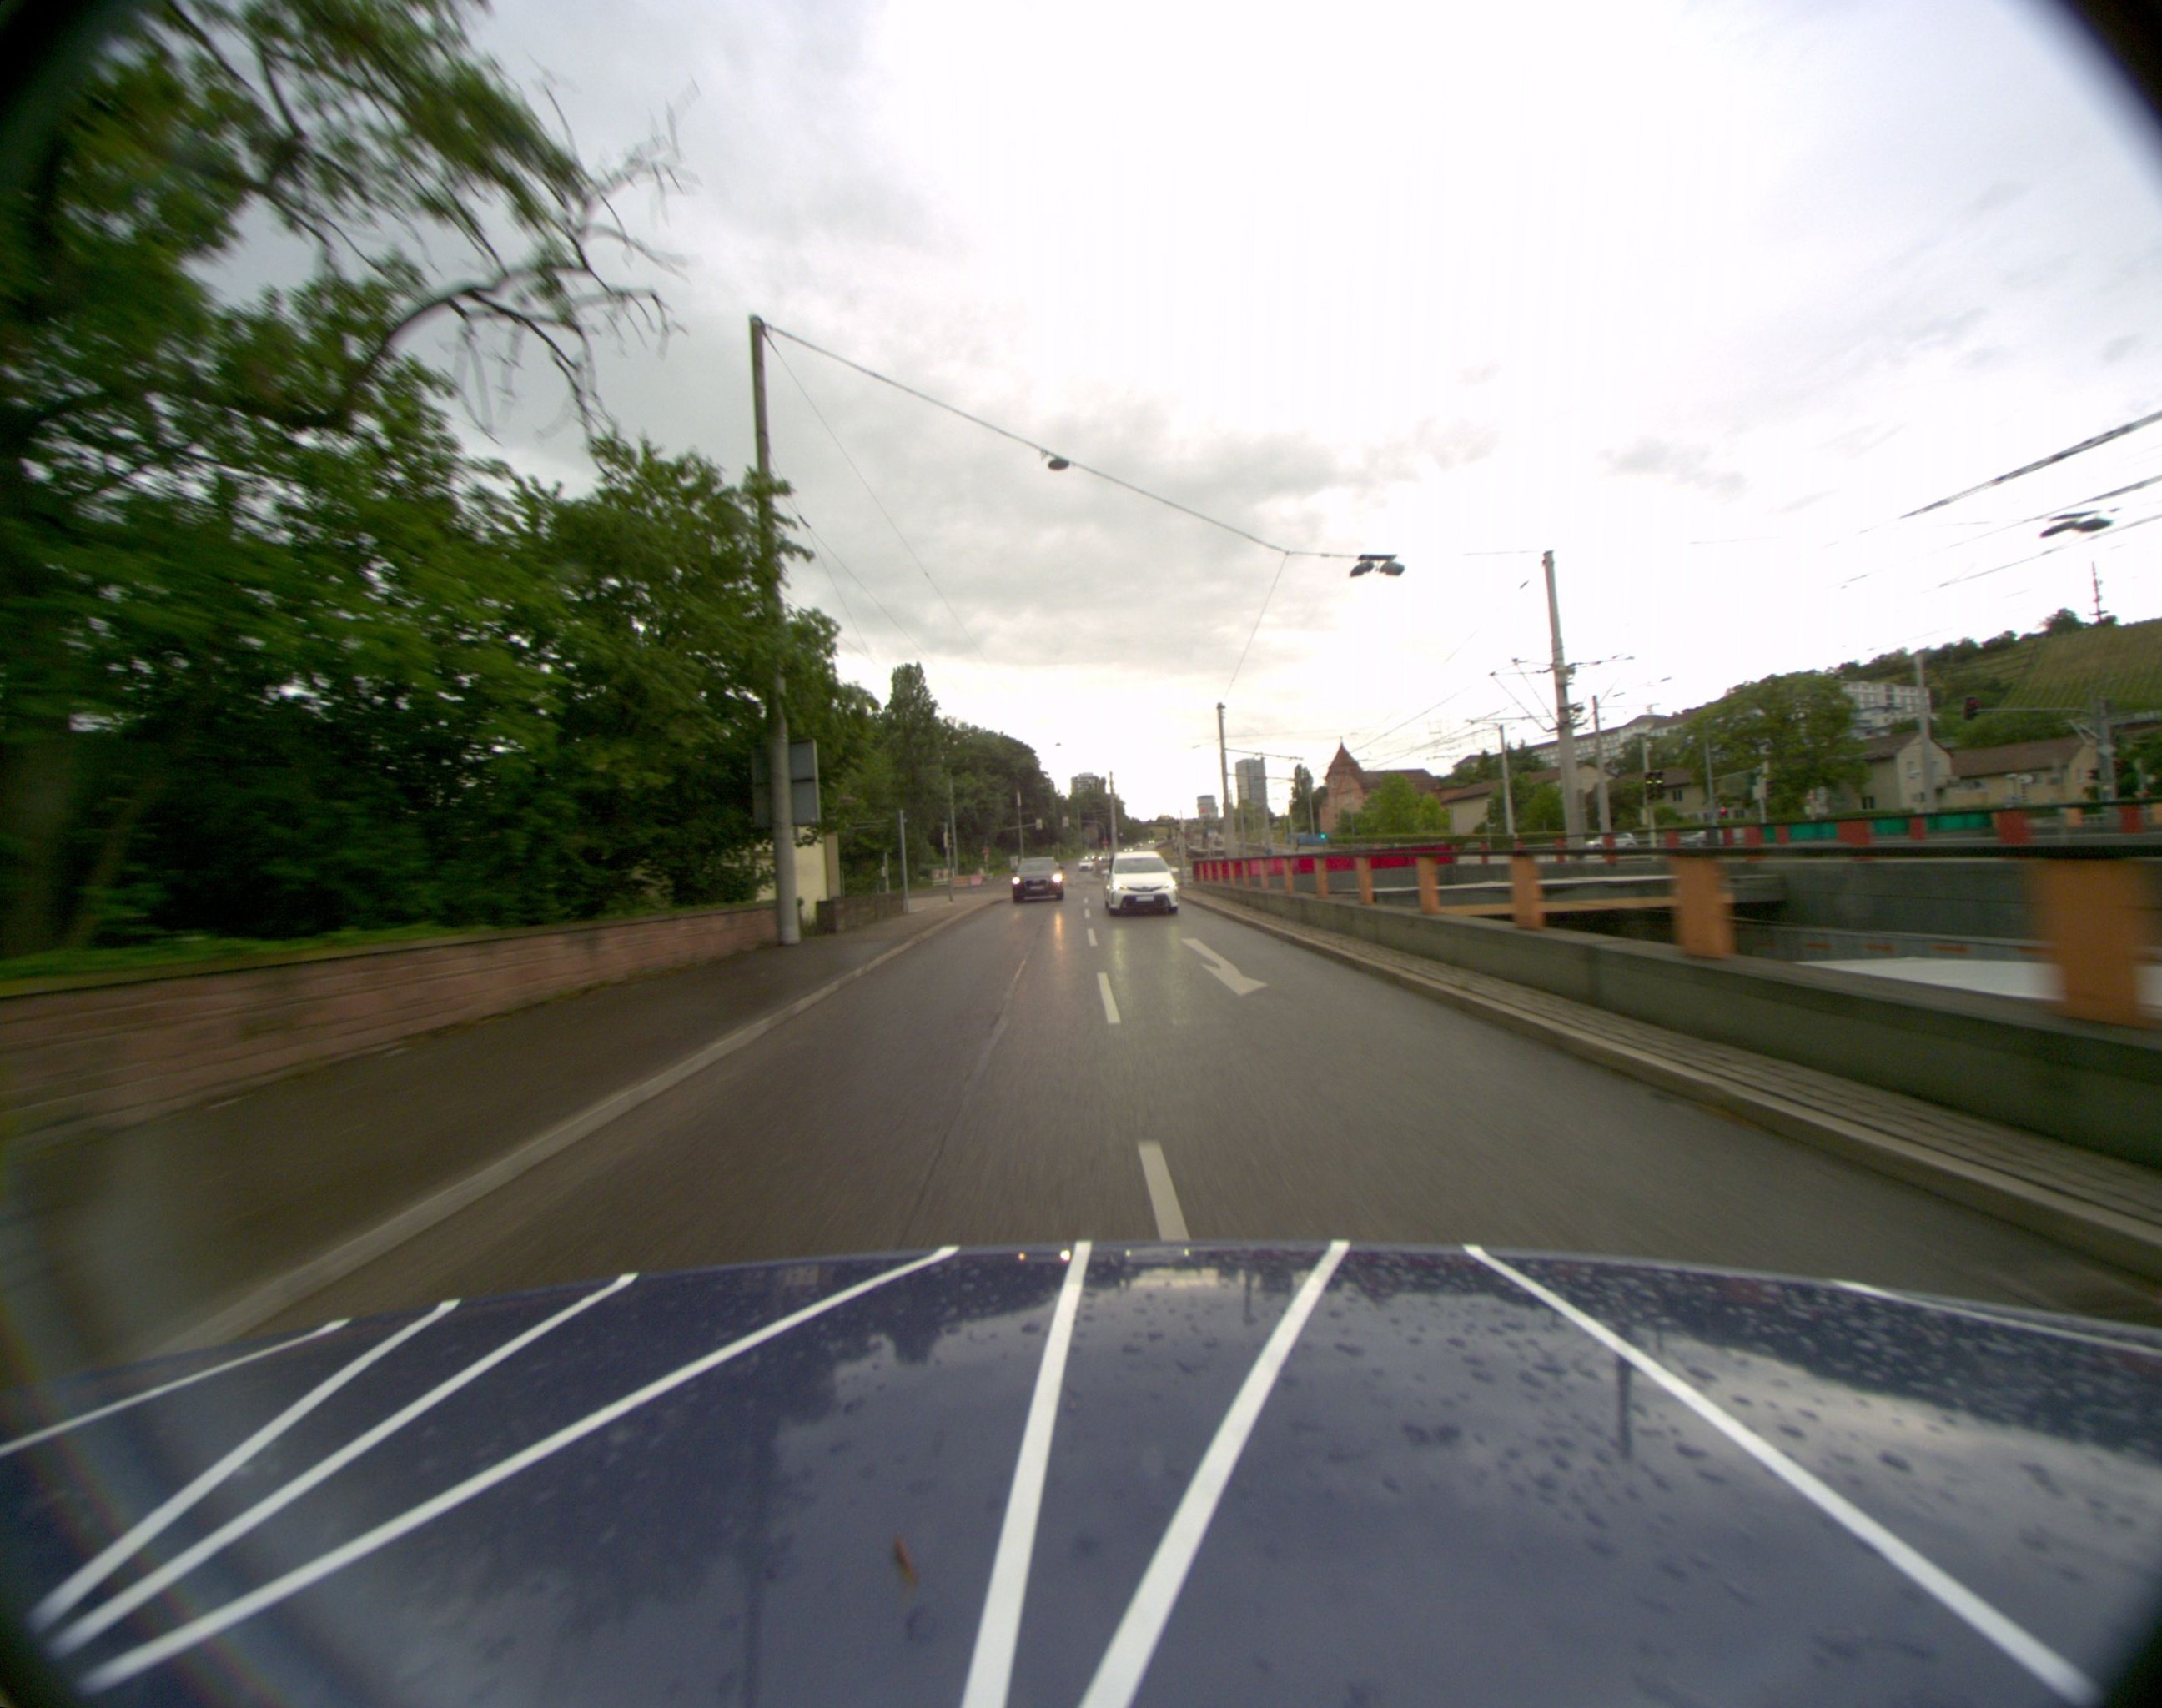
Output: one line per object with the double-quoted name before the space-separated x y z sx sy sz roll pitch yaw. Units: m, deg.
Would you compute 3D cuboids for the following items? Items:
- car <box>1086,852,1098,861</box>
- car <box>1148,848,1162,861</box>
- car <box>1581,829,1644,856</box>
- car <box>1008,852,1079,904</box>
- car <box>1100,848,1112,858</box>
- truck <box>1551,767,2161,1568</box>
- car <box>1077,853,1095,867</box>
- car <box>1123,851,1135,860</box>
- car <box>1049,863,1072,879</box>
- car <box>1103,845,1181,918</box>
"car" 2.022 0.380 135.866 1.801 1.463 4.001 -4 0 5
"car" 10.954 0.044 112.559 1.737 1.579 4.001 -4 1 9
"car" 45.938 -0.976 65.770 3.993 2.002 2.001 -4 2 13
"car" -1.294 0.833 28.323 1.855 1.579 4.001 -4 1 8
"car" 4.344 -0.125 131.004 1.802 1.502 4.001 -4 -2 0
"truck" 6.945 1.529 2.226 2.769 4.171 13.034 -3 -2 0
"car" 0.685 0.810 98.400 1.737 1.579 4.001 -4 1 9
"car" 8.762 0.252 139.014 1.801 1.463 4.000 -4 0 1
"car" -2.360 1.949 87.217 1.738 1.577 4.004 -8 -3 9
"car" 1.553 0.659 20.549 1.855 1.741 4.000 -1 0 2
